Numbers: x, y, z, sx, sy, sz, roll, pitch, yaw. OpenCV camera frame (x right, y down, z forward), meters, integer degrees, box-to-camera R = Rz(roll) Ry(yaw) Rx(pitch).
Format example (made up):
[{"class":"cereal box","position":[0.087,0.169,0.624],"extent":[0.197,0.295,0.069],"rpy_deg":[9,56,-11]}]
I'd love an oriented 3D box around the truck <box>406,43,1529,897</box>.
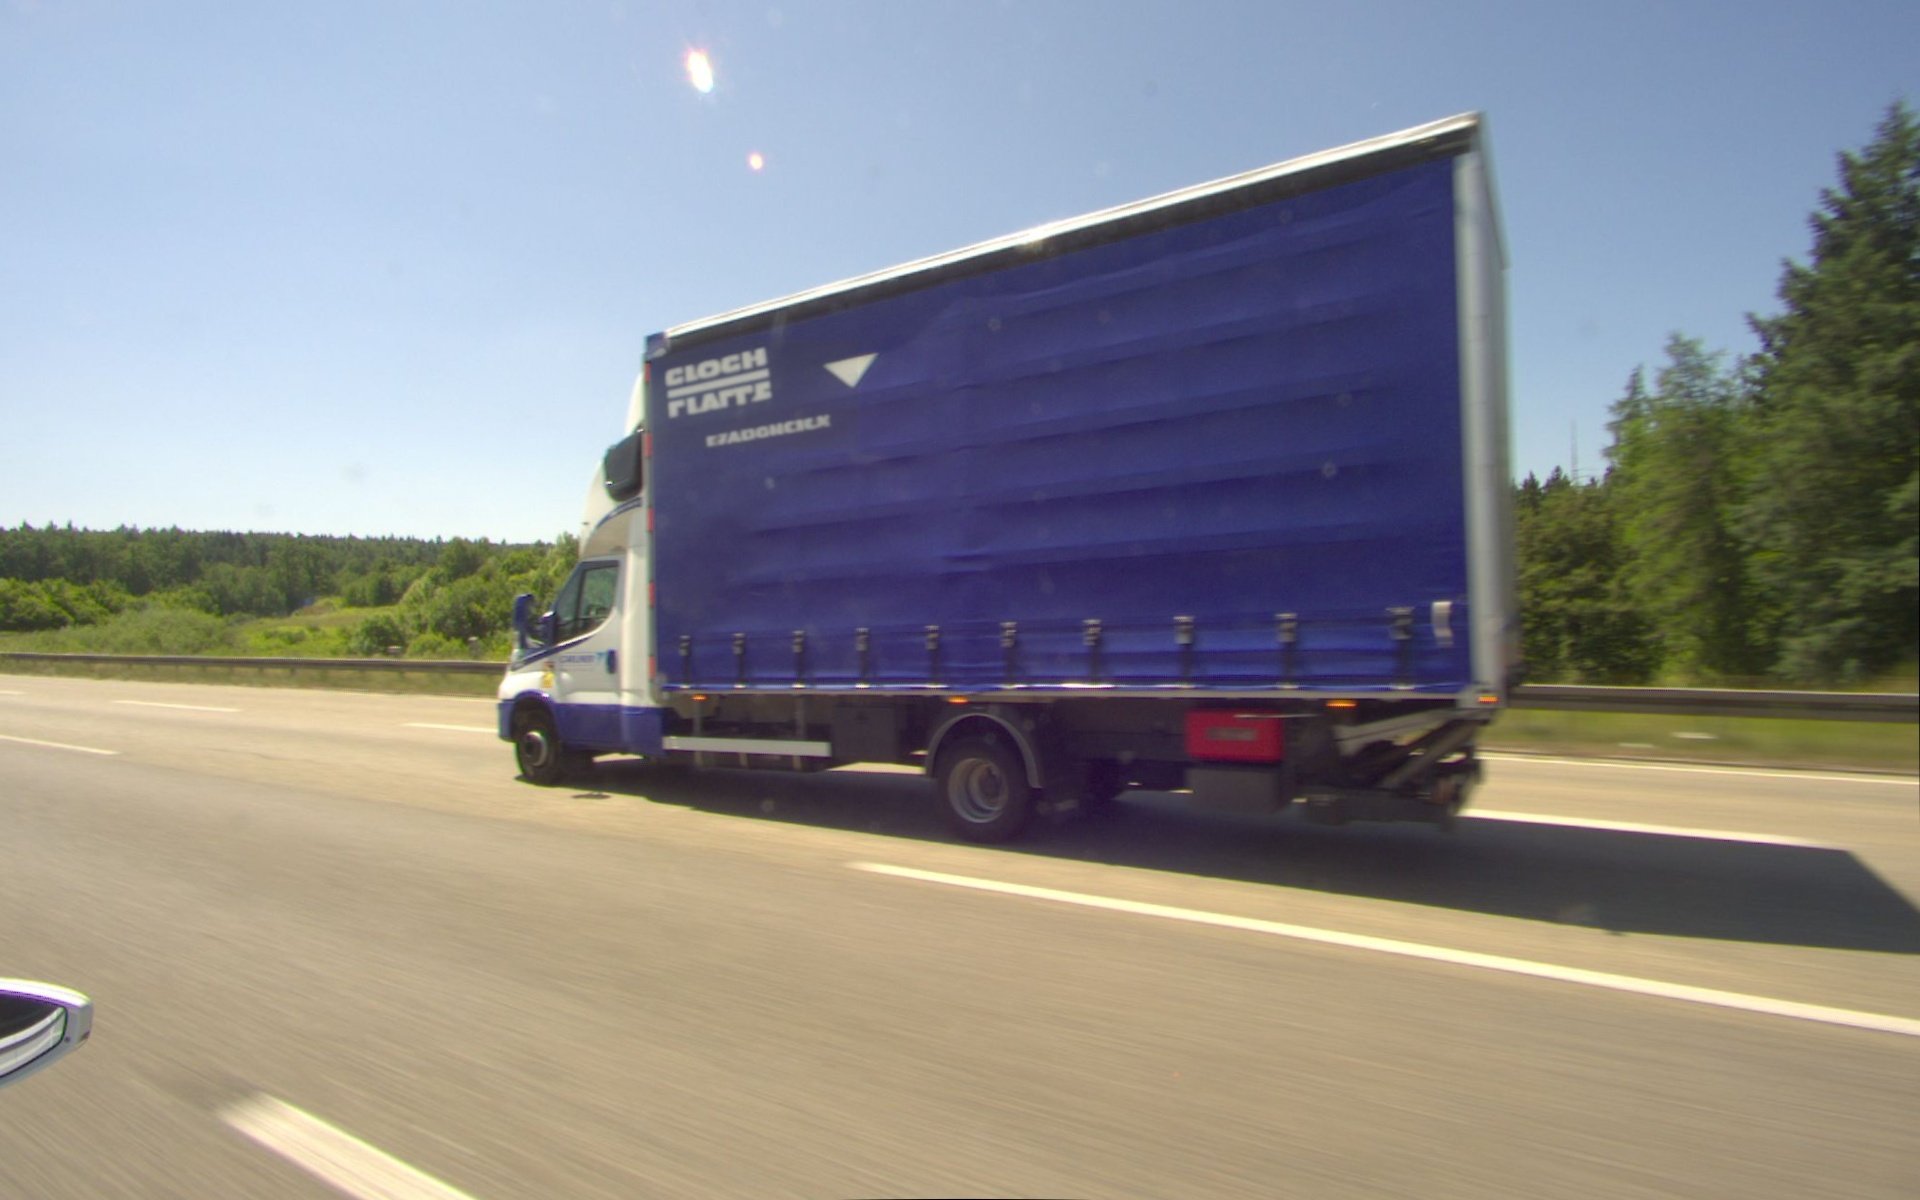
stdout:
[{"class":"truck","position":[-0.686,-0.507,8.602],"extent":[9.599,4.181,2.779],"rpy_deg":[-1,-2,32]}]
